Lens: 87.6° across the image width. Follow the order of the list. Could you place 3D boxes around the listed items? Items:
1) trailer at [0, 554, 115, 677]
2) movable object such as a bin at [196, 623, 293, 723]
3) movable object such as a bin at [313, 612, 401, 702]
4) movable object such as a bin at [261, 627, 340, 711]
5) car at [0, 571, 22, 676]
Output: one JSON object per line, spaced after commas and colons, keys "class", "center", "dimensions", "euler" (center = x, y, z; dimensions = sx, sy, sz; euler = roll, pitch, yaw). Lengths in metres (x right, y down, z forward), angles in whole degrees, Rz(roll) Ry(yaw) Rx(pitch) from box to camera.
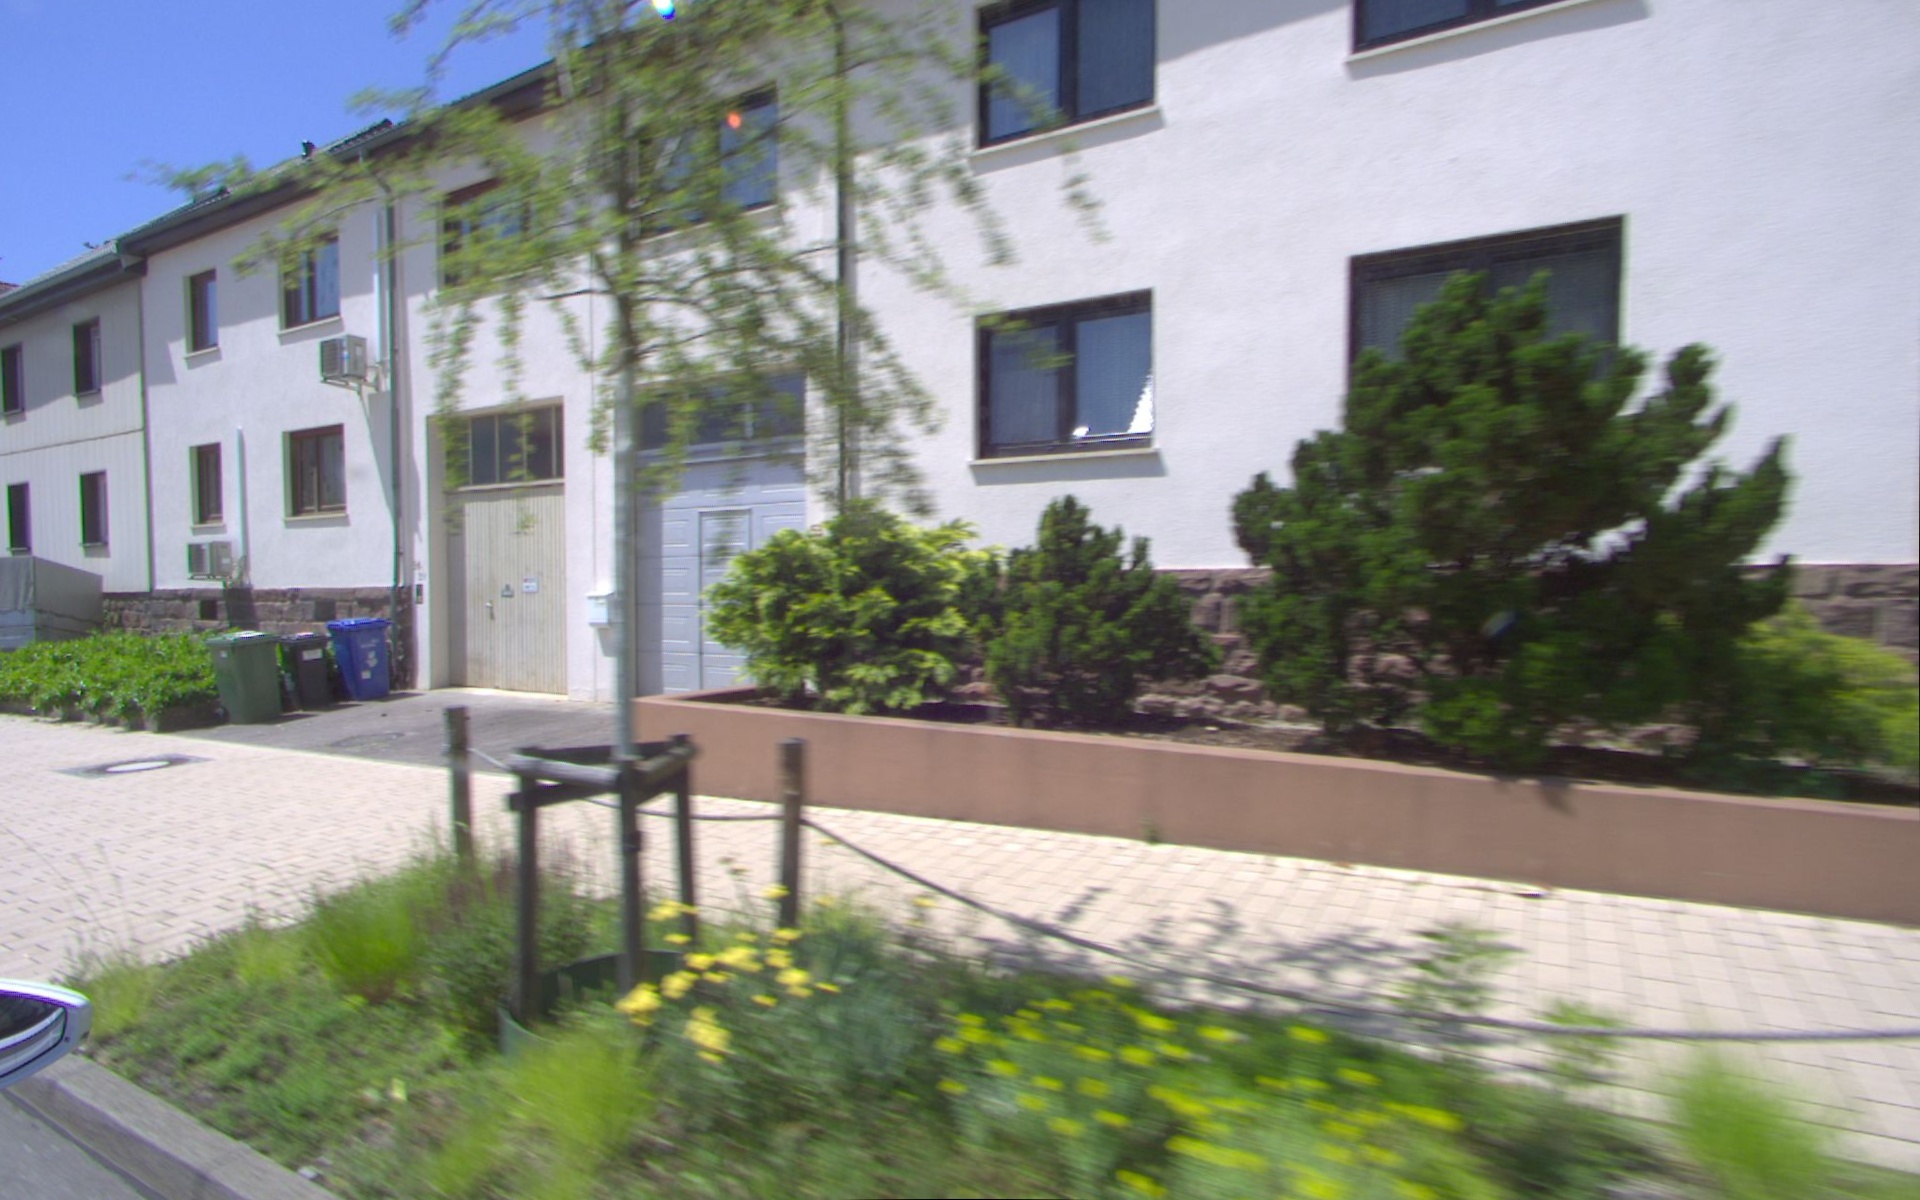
{"class": "trailer", "center": [-16.240, 0.278, 17.590], "dimensions": [1.301, 2.040, 2.270], "euler": [0, -1, -16]}
{"class": "movable object such as a bin", "center": [-8.756, 0.869, 12.255], "dimensions": [0.802, 1.130, 0.681], "euler": [-1, 4, 37]}
{"class": "movable object such as a bin", "center": [-8.104, 0.749, 13.457], "dimensions": [0.852, 1.122, 0.682], "euler": [-1, 4, 38]}
{"class": "movable object such as a bin", "center": [-8.505, 0.875, 12.913], "dimensions": [0.793, 1.000, 0.555], "euler": [-1, 5, 38]}
{"class": "car", "center": [-20.591, 0.517, 19.710], "dimensions": [4.704, 1.998, 1.848], "euler": [-1, 2, 31]}
